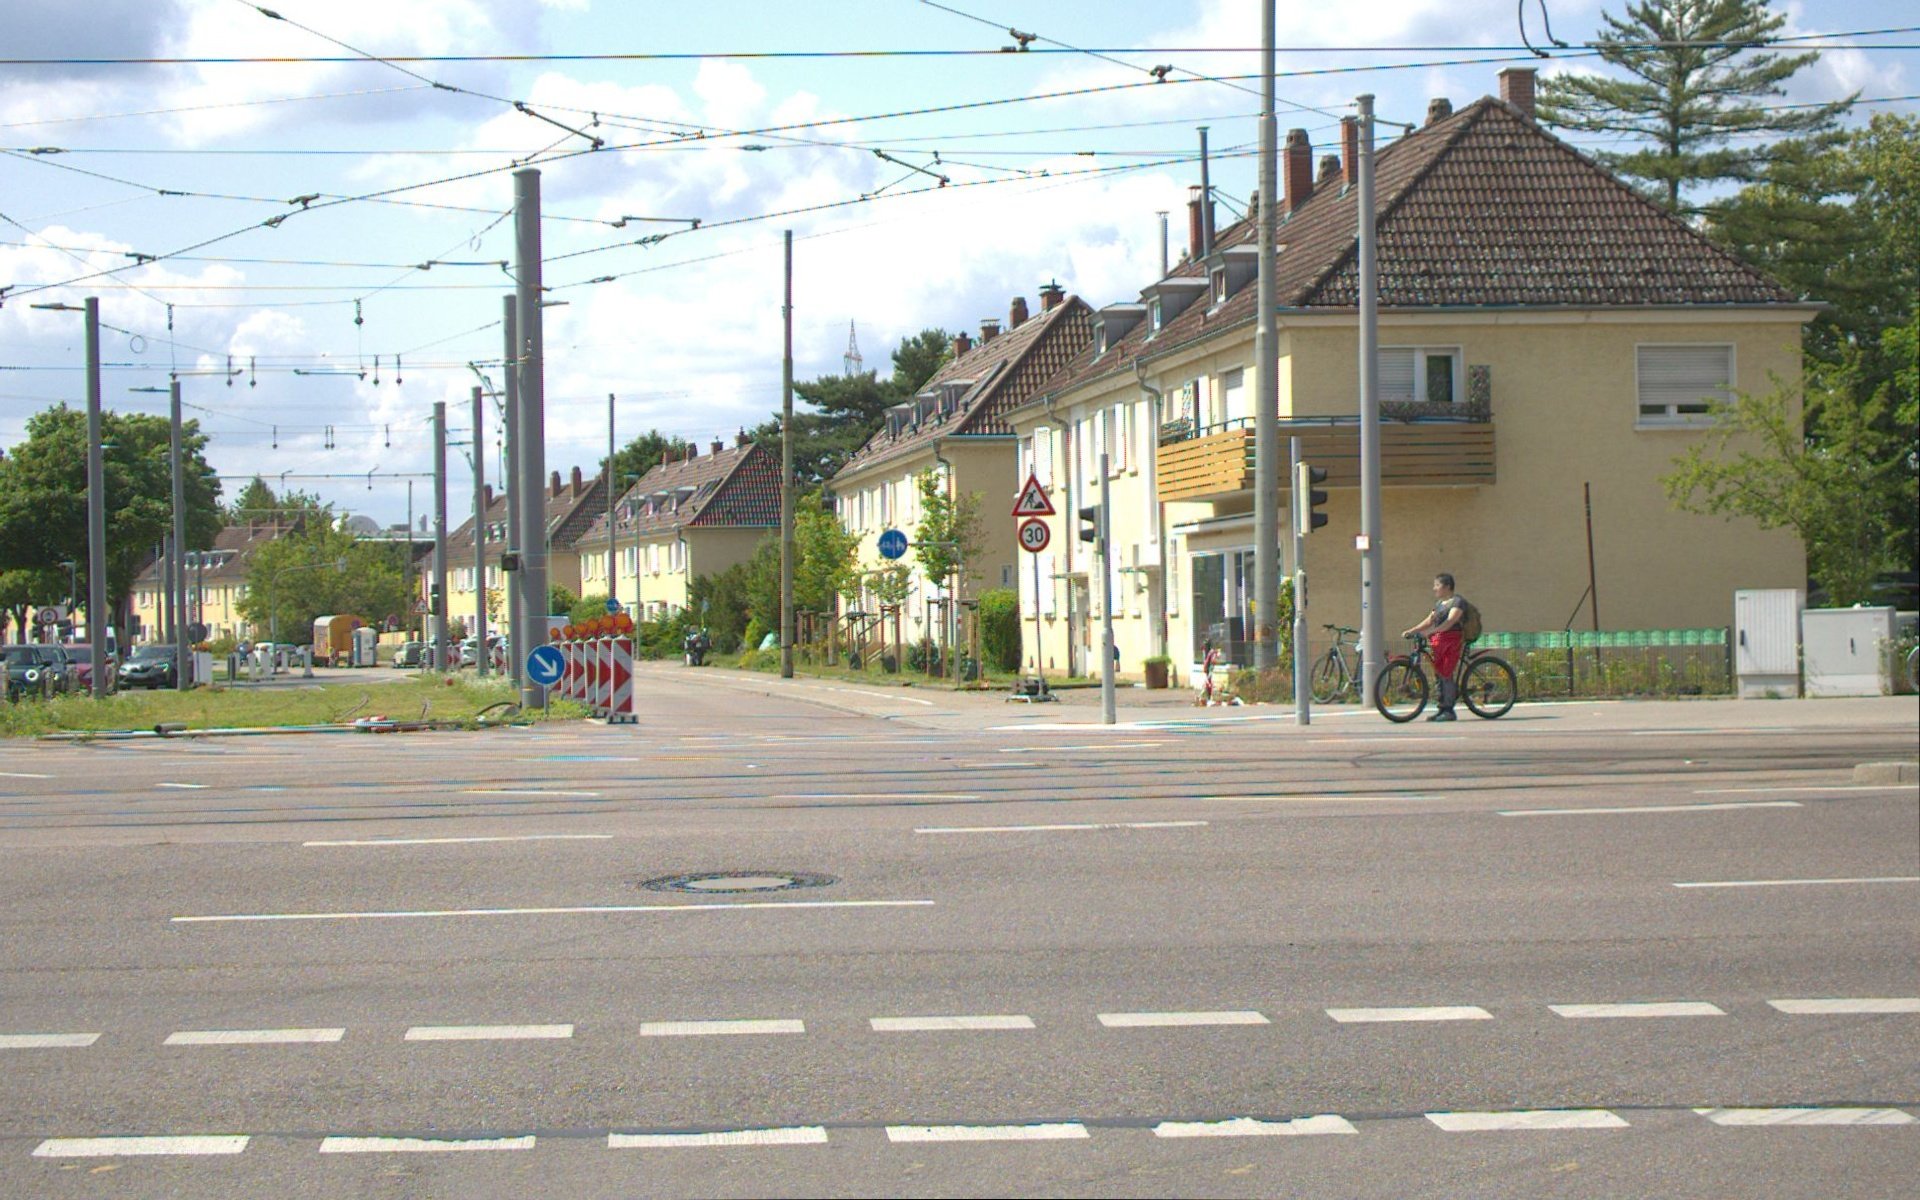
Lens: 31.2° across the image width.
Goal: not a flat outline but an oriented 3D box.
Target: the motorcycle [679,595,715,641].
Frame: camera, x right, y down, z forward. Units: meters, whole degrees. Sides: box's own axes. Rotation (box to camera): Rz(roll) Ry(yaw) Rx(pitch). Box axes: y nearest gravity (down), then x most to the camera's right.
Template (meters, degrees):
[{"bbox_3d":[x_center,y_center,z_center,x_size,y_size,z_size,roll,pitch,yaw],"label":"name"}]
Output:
[{"bbox_3d":[-9.596,0.674,125.175,1.066,1.630,2.084,-1,0,-10],"label":"motorcycle"}]

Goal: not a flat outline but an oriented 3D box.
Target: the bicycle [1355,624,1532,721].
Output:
[{"bbox_3d":[5.770,0.854,41.007,2.027,1.098,0.715,-1,-1,-27],"label":"bicycle"}]

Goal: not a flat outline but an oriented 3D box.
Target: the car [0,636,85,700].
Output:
[{"bbox_3d":[-21.497,1.555,79.991,1.843,1.408,4.917,-1,0,-10],"label":"car"}]

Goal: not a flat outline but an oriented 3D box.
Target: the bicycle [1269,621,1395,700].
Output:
[{"bbox_3d":[5.289,0.860,49.037,0.593,1.093,2.277,-1,-1,-27],"label":"bicycle"}]

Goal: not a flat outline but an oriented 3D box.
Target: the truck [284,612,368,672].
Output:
[{"bbox_3d":[-38.746,2.587,209.848,2.640,3.482,9.439,-1,0,-26],"label":"truck"}]

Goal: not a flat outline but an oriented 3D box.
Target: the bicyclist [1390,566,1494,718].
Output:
[{"bbox_3d":[5.742,0.497,40.975,0.957,1.769,0.719,-1,-1,-26],"label":"bicyclist"}]

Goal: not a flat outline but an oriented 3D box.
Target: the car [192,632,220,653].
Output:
[{"bbox_3d":[-52.804,2.974,240.896,1.257,1.421,2.665,-1,0,-27],"label":"car"}]

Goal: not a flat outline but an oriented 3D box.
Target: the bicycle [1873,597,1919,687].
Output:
[{"bbox_3d":[12.304,0.513,42.504,1.806,1.101,0.701,-1,0,37],"label":"bicycle"}]

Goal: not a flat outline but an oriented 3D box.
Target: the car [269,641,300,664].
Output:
[{"bbox_3d":[-43.589,3.381,221.803,1.257,1.421,2.665,-1,0,-26],"label":"car"}]

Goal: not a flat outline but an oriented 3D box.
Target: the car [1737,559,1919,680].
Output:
[{"bbox_3d":[12.846,0.299,49.219,1.821,1.615,4.001,-1,-1,-12],"label":"car"}]

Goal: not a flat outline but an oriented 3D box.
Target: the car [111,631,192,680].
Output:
[{"bbox_3d":[-27.454,1.878,116.861,1.819,1.547,4.000,-1,0,-1],"label":"car"}]

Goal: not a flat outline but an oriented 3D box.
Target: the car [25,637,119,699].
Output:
[{"bbox_3d":[-22.734,1.716,88.111,1.843,1.489,4.857,-1,0,-9],"label":"car"}]

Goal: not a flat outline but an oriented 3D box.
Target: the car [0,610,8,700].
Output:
[{"bbox_3d":[-19.593,1.092,66.684,1.732,1.776,4.406,-1,0,-10],"label":"car"}]

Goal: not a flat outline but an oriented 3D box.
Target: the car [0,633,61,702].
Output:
[{"bbox_3d":[-20.347,1.432,73.352,1.914,1.414,4.001,-1,0,-10],"label":"car"}]

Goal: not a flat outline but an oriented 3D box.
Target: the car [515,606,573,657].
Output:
[{"bbox_3d":[-18.193,1.374,150.198,2.065,2.142,4.879,-1,0,-12],"label":"car"}]
